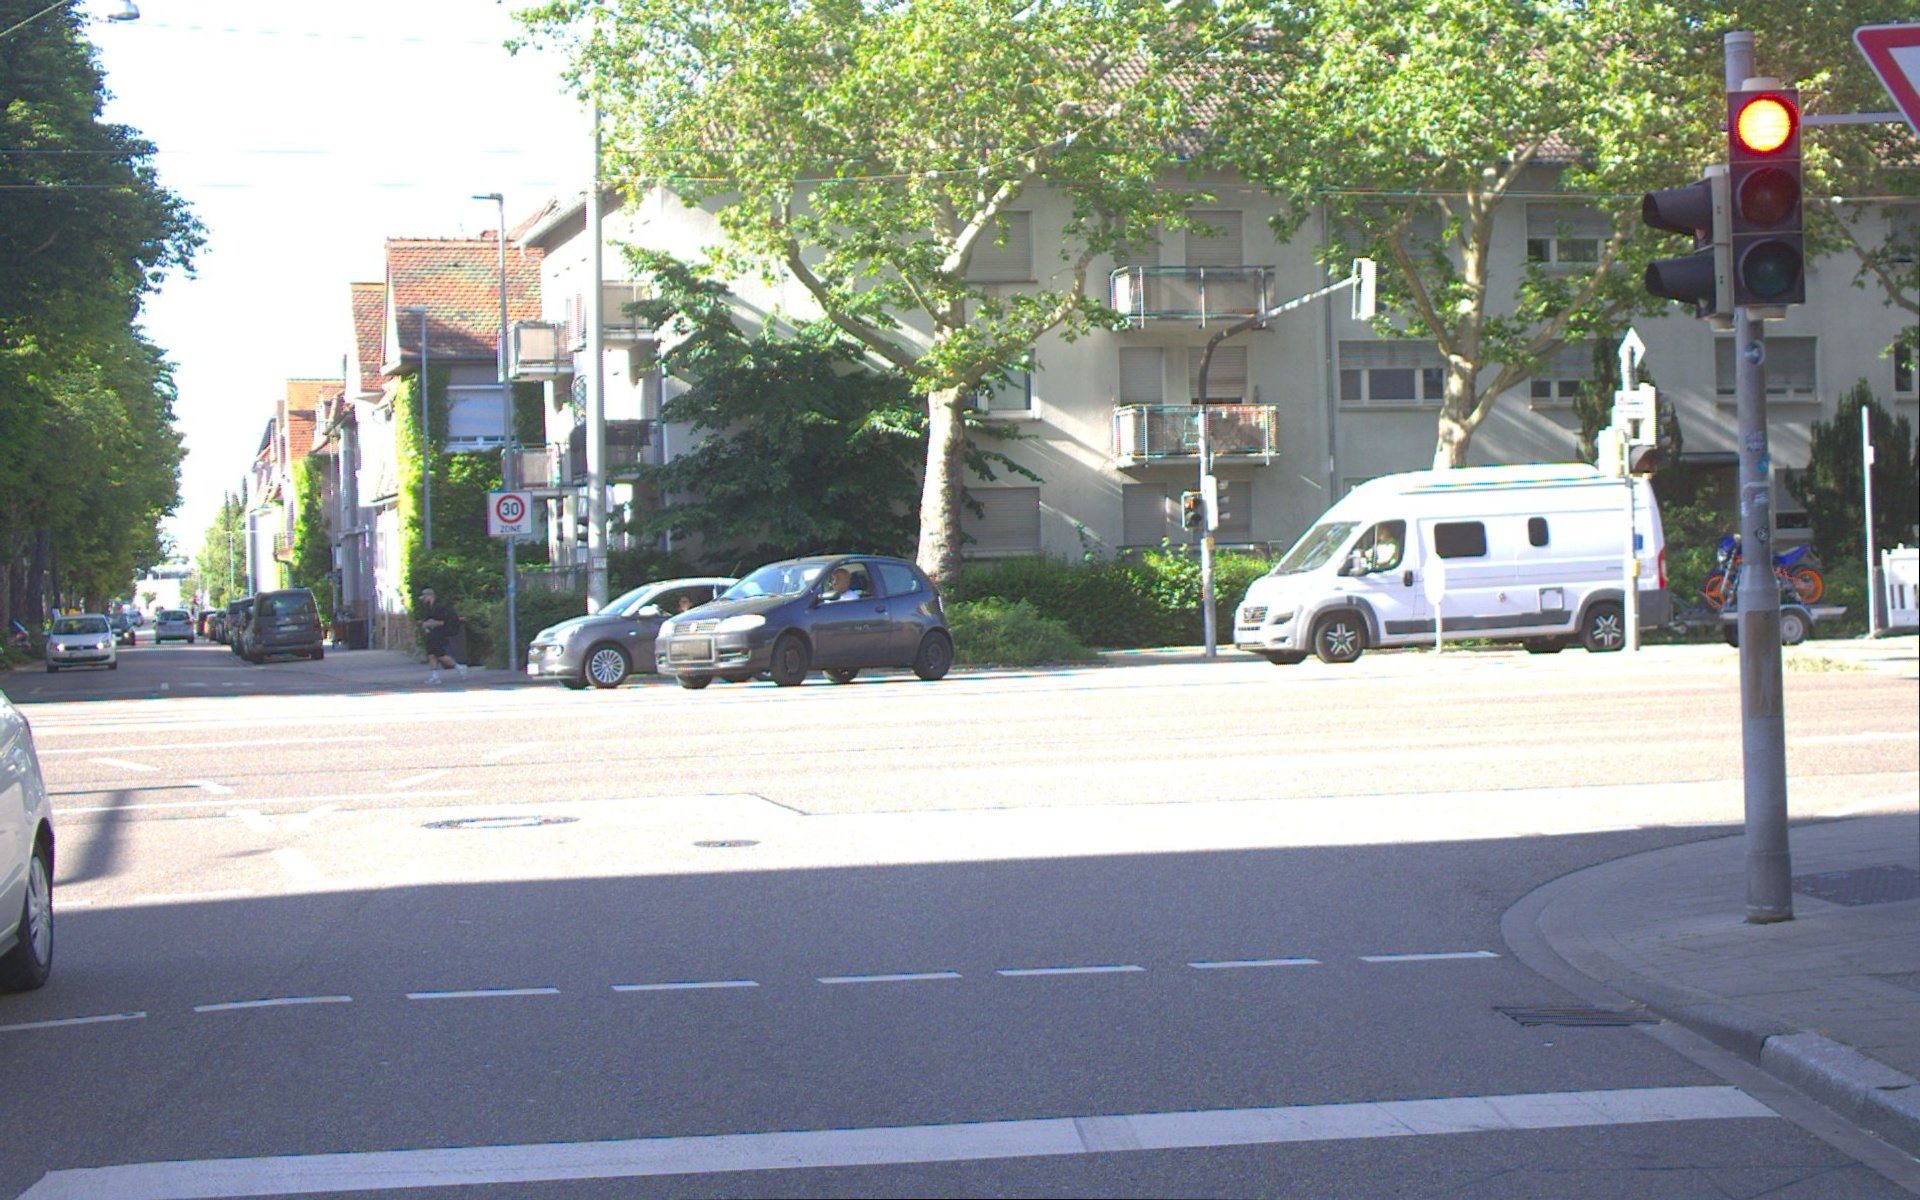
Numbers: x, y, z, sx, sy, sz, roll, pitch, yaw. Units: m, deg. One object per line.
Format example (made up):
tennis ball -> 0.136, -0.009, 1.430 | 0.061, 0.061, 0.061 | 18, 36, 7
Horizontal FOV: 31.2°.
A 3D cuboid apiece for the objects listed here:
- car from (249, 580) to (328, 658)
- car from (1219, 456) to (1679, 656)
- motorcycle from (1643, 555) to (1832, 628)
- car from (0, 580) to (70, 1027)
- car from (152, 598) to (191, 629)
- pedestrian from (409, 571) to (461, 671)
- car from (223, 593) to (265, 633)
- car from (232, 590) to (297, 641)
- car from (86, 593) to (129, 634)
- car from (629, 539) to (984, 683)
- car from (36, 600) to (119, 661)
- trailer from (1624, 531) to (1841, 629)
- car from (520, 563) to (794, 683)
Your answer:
car -> -18.468, 0.498, 94.691 | 1.993, 2.007, 4.001 | -2, 1, -10
car -> 6.832, -0.638, 48.037 | 6.039, 2.559, 2.001 | -2, 1, -18
motorcycle -> 13.691, -0.157, 60.579 | 2.863, 1.174, 1.478 | -2, 1, -16
car -> -3.962, 0.712, 10.854 | 1.624, 1.467, 3.800 | -2, 1, -6
car -> -38.946, 0.673, 169.865 | 1.673, 1.477, 3.523 | -1, 0, -10
pedestrian -> -9.185, 0.367, 60.114 | 0.633, 1.744, 0.659 | 0, 0, -40
car -> -30.454, 0.539, 146.259 | 1.639, 1.627, 3.282 | -2, 1, -11
car -> -25.393, 0.559, 125.414 | 1.993, 1.826, 4.001 | -1, 0, -16
car -> -35.944, 0.545, 145.028 | 1.546, 1.627, 3.235 | -2, 1, -11
car -> -1.680, 0.101, 38.724 | 1.657, 1.446, 3.991 | -1, 1, 41
car -> -23.016, 0.780, 89.660 | 1.993, 1.441, 4.001 | -2, 1, -15
trailer -> 11.068, -0.292, 49.296 | 2.739, 1.306, 1.271 | -2, 1, -19
car -> -4.145, 0.297, 46.993 | 3.379, 1.482, 1.525 | -2, 1, -22
